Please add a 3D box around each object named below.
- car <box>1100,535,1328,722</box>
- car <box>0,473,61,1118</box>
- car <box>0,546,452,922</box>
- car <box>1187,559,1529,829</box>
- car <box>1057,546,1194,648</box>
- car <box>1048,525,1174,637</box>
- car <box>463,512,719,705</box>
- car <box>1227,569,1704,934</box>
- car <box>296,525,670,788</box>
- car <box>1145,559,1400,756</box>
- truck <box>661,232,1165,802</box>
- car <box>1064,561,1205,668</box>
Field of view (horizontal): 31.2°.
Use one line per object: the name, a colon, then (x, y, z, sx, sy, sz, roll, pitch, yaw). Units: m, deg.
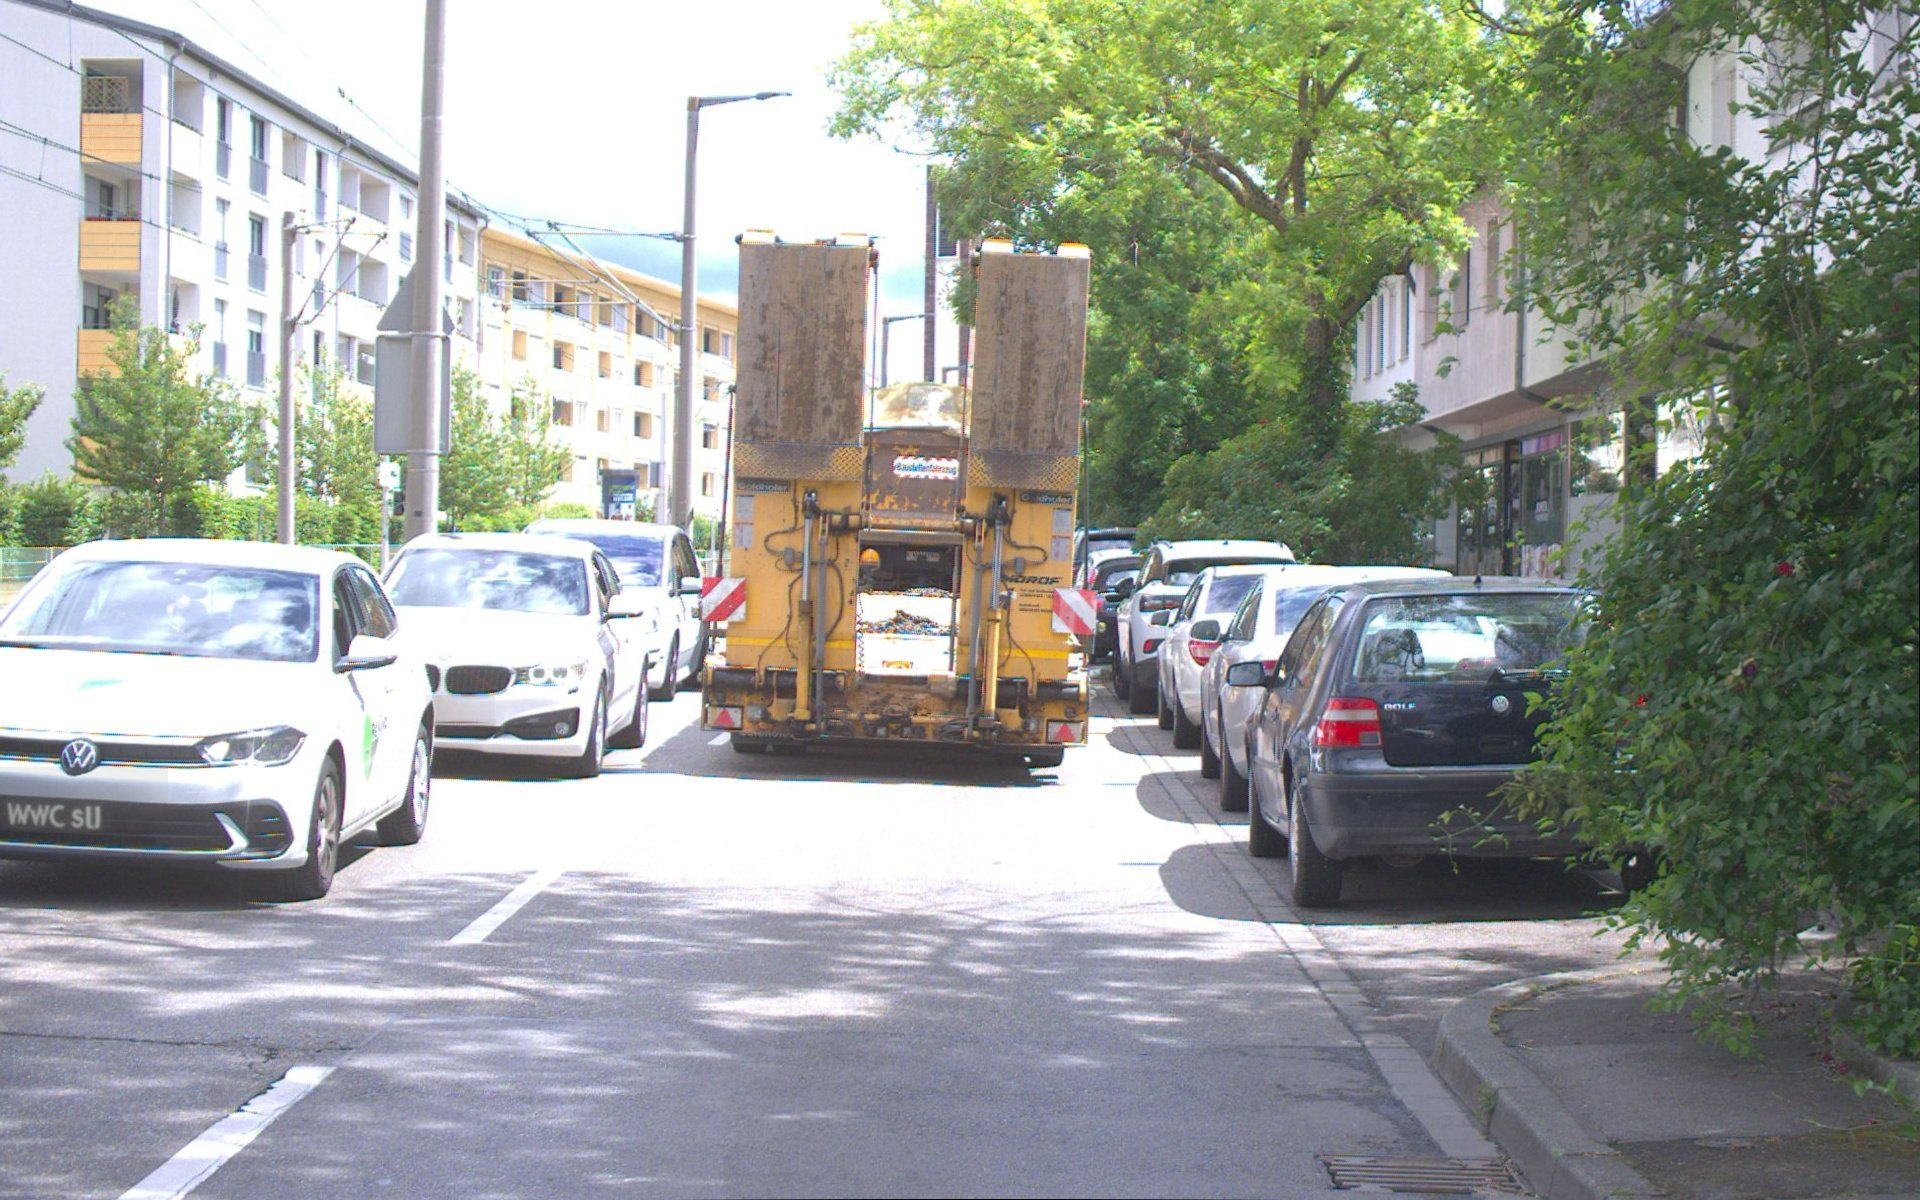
car: (2.391, 0.219, 33.371, 1.837, 1.638, 4.430, 2, 1, 0)
car: (-3.377, 0.519, 7.270, 1.857, 1.684, 4.434, 1, 1, -1)
car: (-3.377, 0.486, 15.192, 1.746, 1.401, 3.940, 1, 1, -1)
car: (2.454, 0.510, 22.261, 1.814, 1.493, 4.910, 1, 1, 2)
car: (2.440, -0.063, 51.529, 1.771, 1.437, 3.900, -1, 1, -1)
car: (2.540, -0.343, 58.138, 2.015, 1.782, 5.075, 1, 1, 2)
car: (-3.384, 0.039, 32.345, 1.817, 1.608, 4.602, 3, 1, 0)
car: (2.277, 0.619, 16.464, 1.814, 1.458, 4.040, 1, 1, 2)
car: (-3.080, 0.301, 23.128, 1.817, 1.497, 4.837, 3, 1, 0)
car: (2.473, 0.408, 28.123, 1.725, 1.421, 4.446, 1, 1, 1)
truck: (-0.340, -0.633, 28.234, 3.124, 3.552, 12.460, 2, 1, 0)
car: (2.390, 0.165, 46.237, 1.771, 1.345, 3.999, -1, 1, 4)
